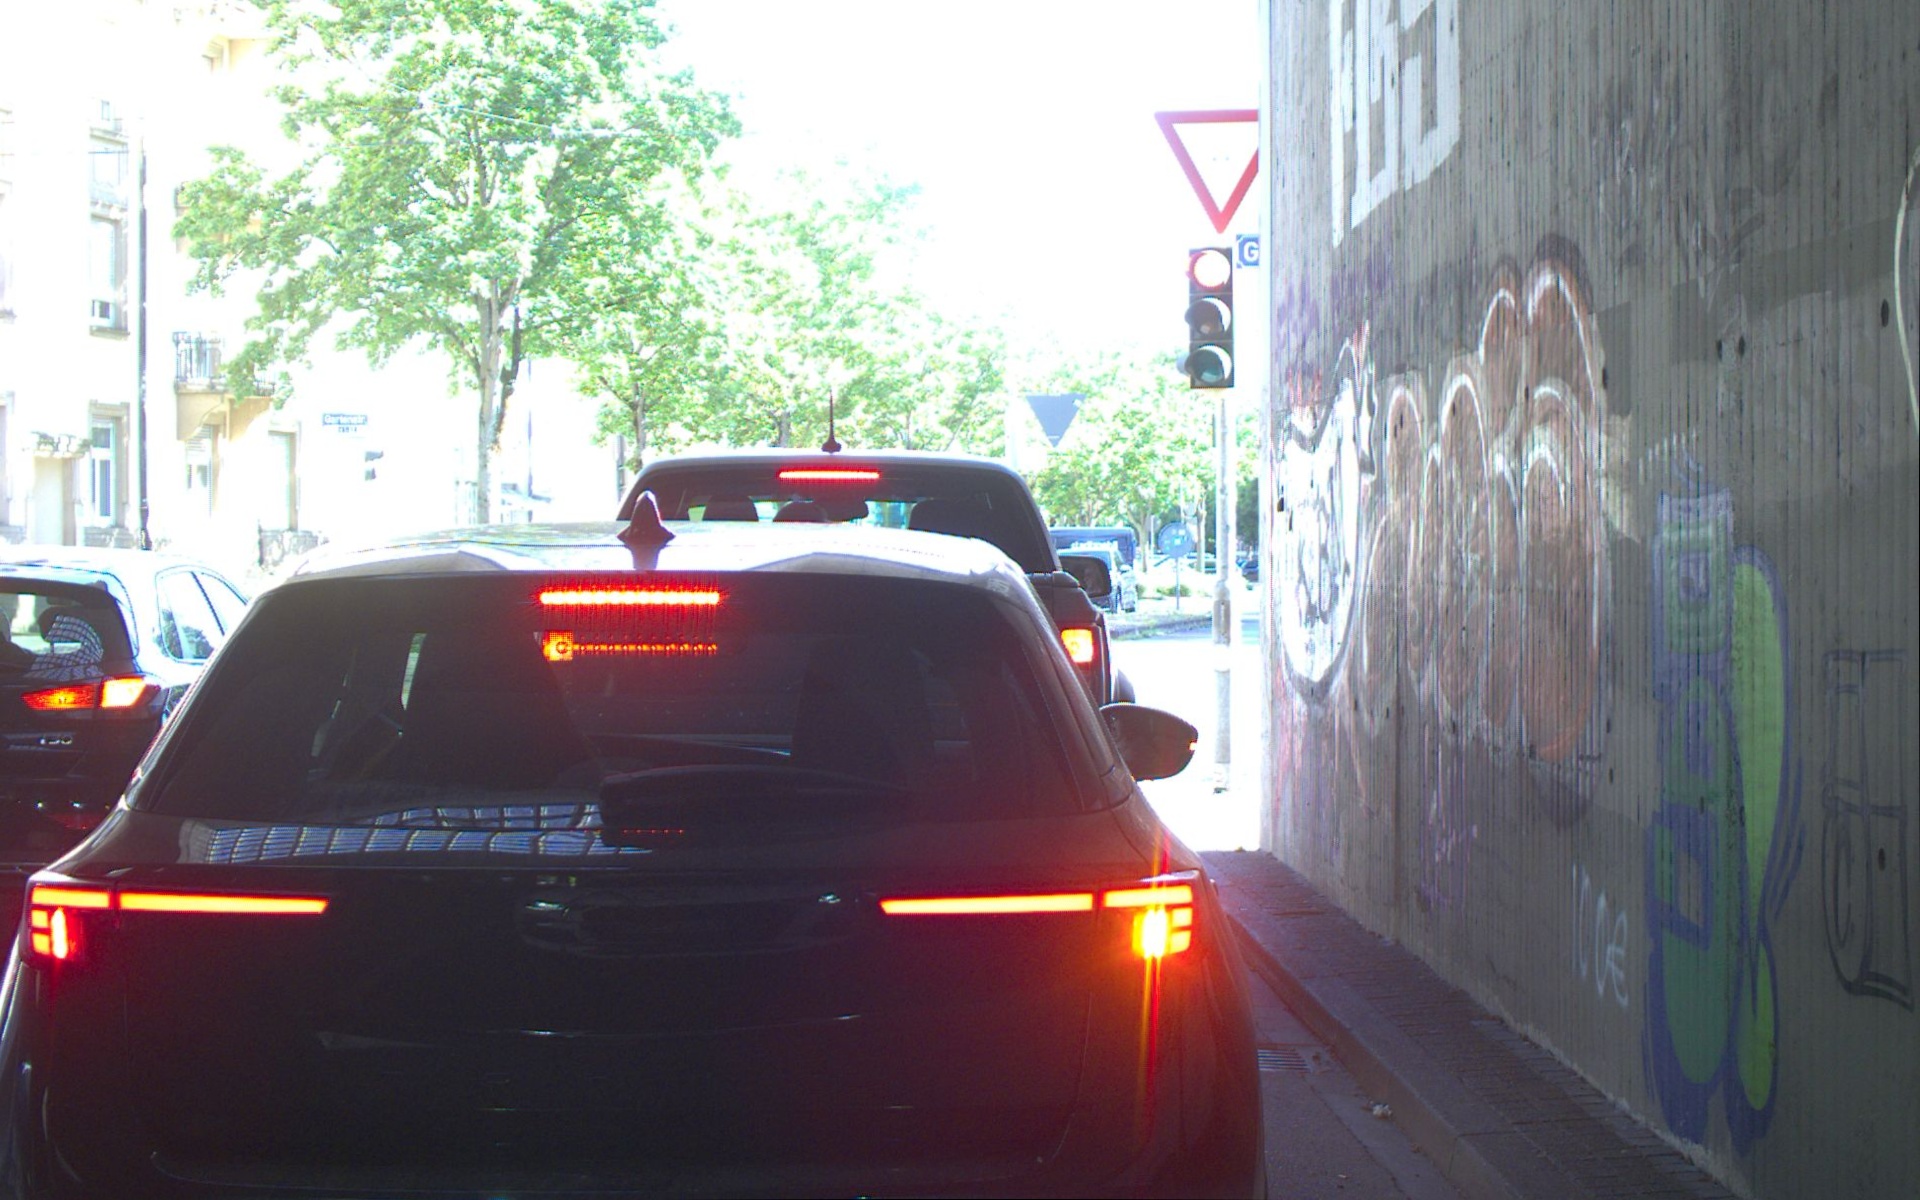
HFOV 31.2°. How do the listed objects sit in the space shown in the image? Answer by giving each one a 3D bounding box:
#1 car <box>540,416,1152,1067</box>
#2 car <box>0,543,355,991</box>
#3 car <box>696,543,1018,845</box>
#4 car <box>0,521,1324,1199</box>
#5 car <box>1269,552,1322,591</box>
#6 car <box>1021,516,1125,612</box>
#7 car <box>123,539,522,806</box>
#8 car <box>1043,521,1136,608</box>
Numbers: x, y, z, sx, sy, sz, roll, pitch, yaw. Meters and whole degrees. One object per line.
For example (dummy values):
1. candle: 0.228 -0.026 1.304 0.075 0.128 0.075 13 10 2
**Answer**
1. car: -0.352 0.377 12.000 1.762 1.876 4.146 0 1 -1
2. car: -3.529 0.518 13.248 1.762 1.475 3.844 0 1 -1
3. car: -0.537 0.439 19.220 1.609 1.508 4.054 0 1 -1
4. car: -0.481 0.638 6.060 1.762 1.526 4.089 0 1 -1
5. car: 14.629 -1.249 149.795 1.818 1.661 4.813 1 1 11
6. car: 2.078 -0.647 62.156 1.754 1.661 3.944 1 1 3
7. car: -3.779 0.372 20.972 1.762 1.475 3.844 0 1 -1
8. car: 2.598 -0.701 68.275 1.754 1.661 3.944 1 1 3
